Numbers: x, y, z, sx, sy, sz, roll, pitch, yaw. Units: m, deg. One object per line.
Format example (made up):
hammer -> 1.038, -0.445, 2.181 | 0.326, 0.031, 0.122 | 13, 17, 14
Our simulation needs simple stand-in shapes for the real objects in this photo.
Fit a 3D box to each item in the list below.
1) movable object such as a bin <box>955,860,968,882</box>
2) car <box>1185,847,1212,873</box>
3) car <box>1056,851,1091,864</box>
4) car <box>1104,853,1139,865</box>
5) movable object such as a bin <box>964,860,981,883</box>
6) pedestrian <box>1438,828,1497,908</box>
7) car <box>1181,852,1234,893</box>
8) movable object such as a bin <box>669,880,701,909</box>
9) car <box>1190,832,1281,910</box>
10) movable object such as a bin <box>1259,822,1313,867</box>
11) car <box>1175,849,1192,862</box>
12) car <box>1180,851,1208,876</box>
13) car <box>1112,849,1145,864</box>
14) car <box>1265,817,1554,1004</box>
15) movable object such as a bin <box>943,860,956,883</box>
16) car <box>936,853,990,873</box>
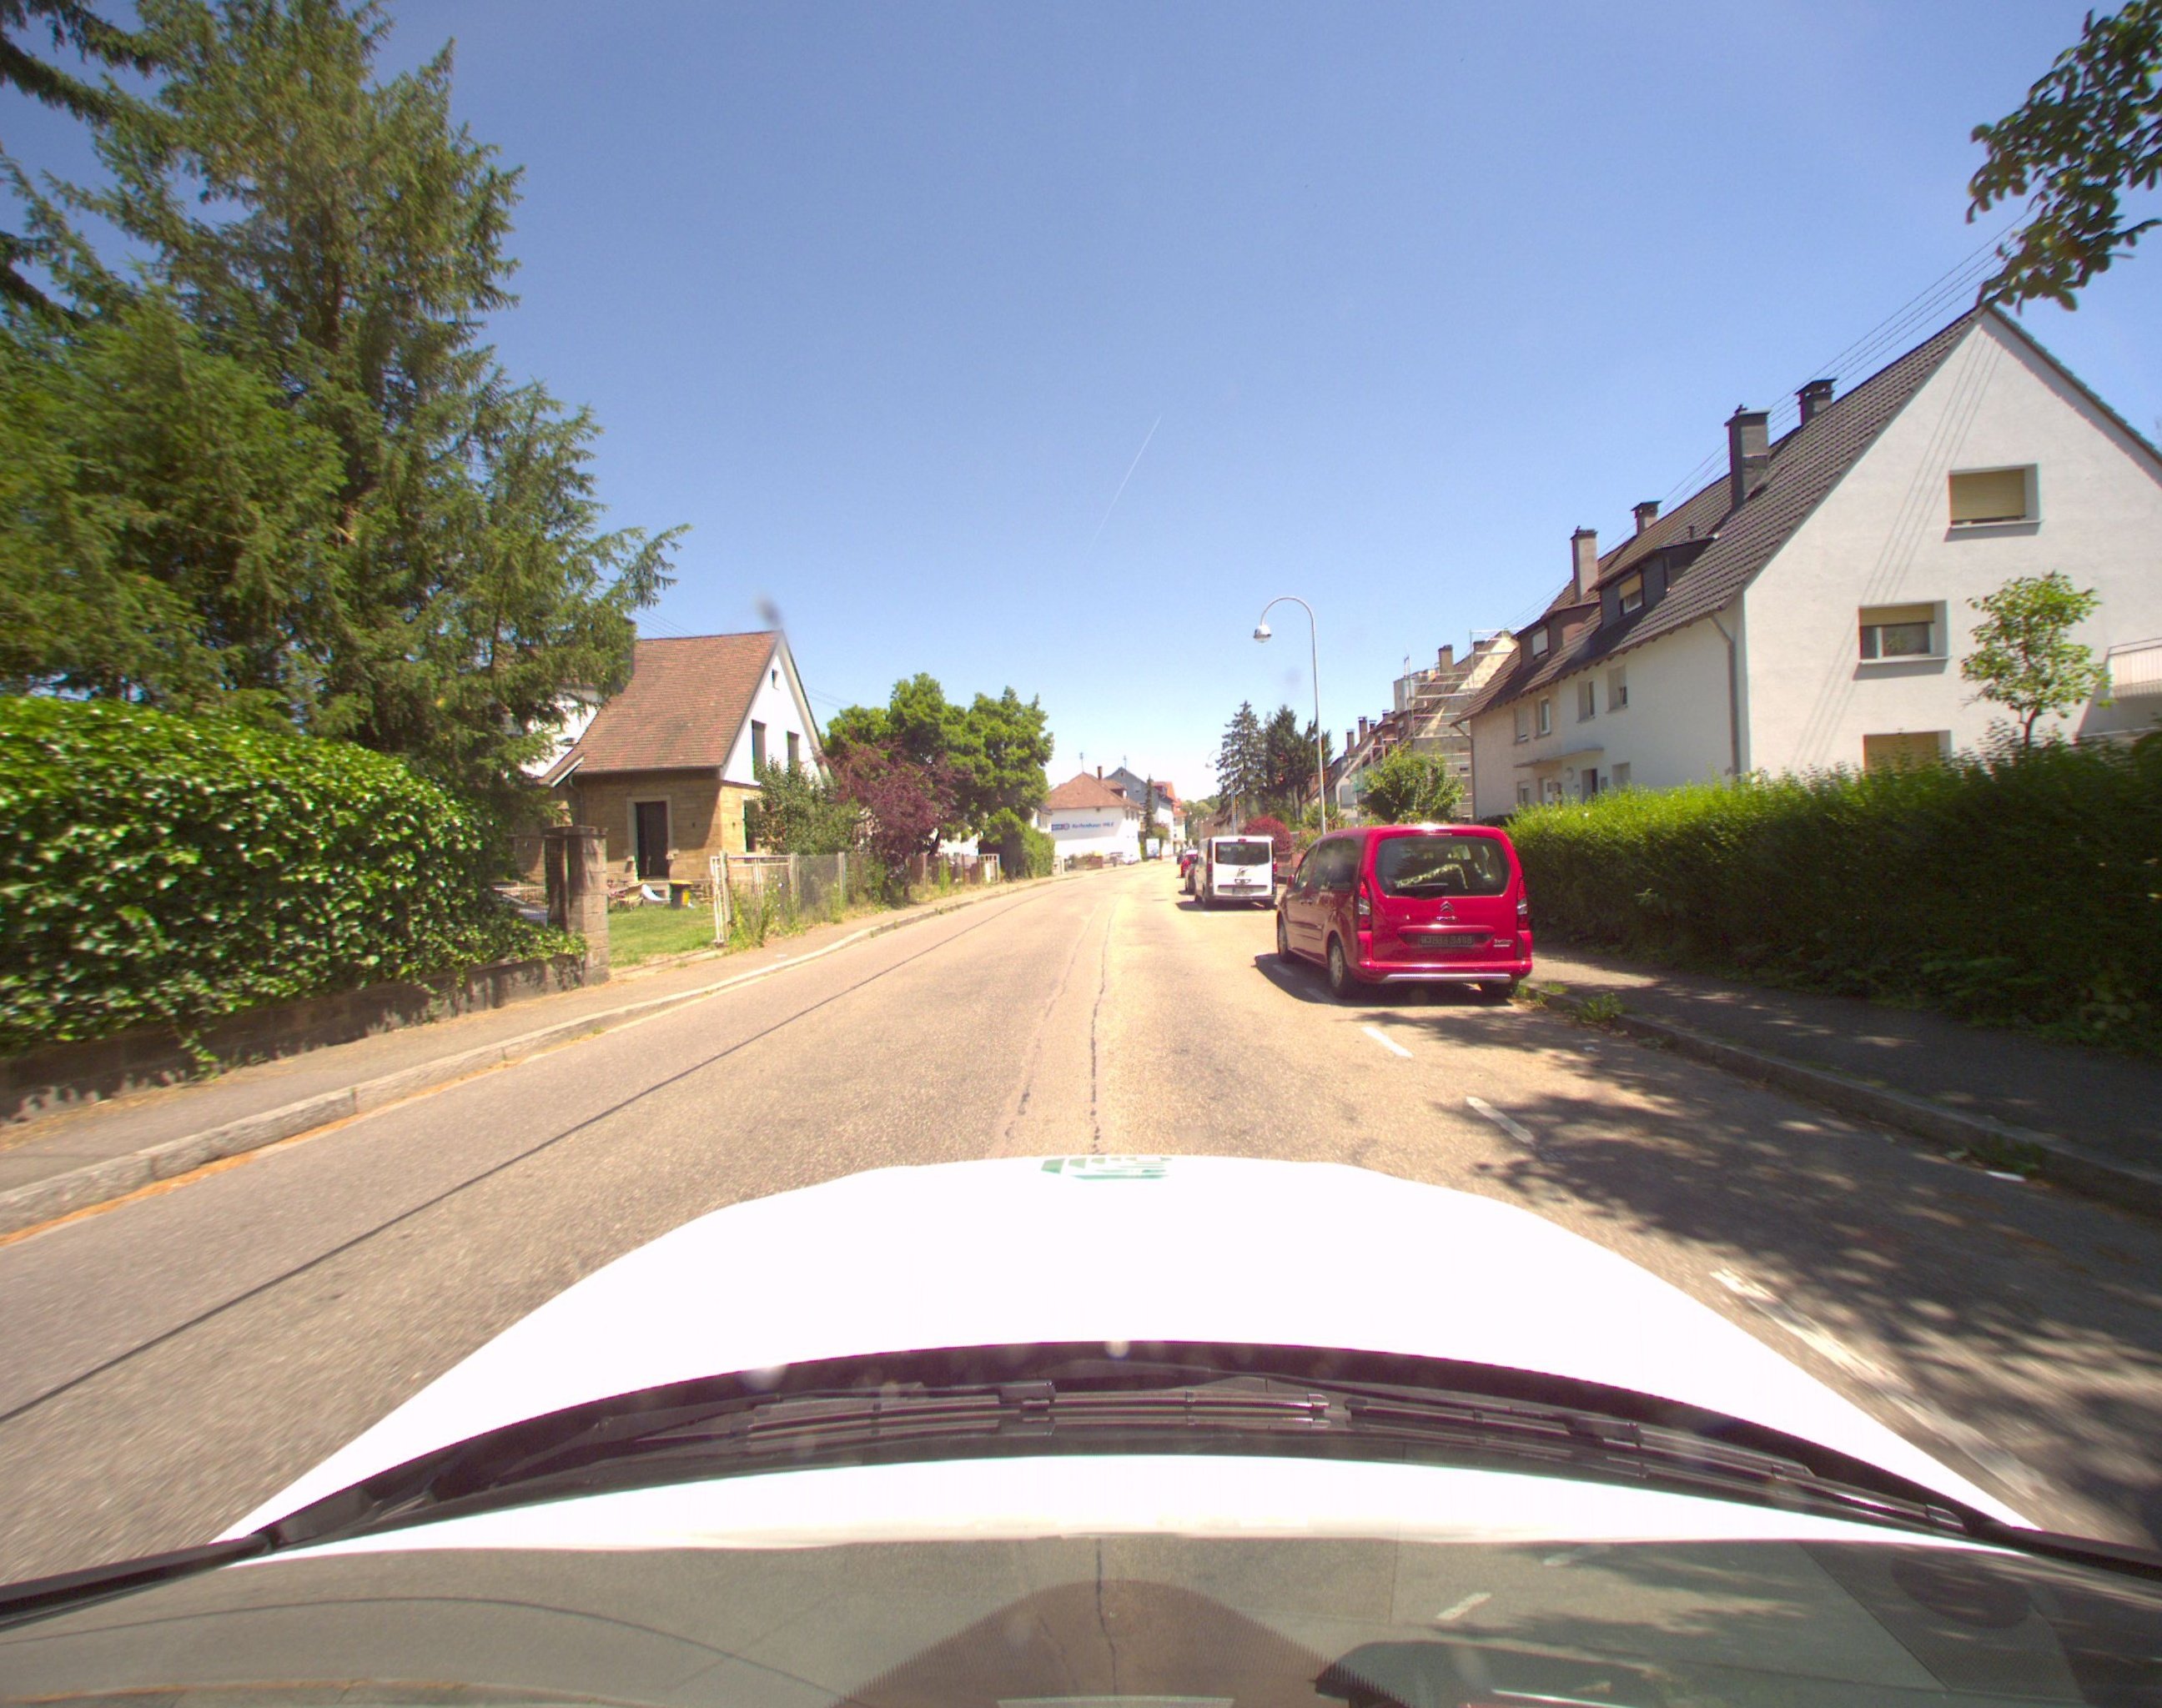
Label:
movable object such as a bin -> -5.532, 0.788, 37.667 | 0.465, 1.009, 0.506 | -1, 0, 4
car -> 8.083, 0.422, 55.817 | 1.653, 1.755, 4.011 | 0, -1, 10
car -> -0.903, 0.434, 95.589 | 1.810, 1.510, 3.951 | -2, 1, -43
car -> 4.969, 0.660, 100.524 | 1.923, 1.343, 4.091 | -2, 0, -45
movable object such as a bin -> -4.918, 0.777, 36.925 | 0.705, 0.996, 0.474 | -2, 0, 2
pedestrian -> 7.805, 0.280, 16.476 | 0.785, 1.517, 0.709 | -4, 0, 3
car -> 4.684, 0.640, 30.560 | 1.648, 1.398, 4.005 | -2, 0, 5
movable object such as a bin -> -11.858, 1.198, 24.393 | 0.563, 0.828, 0.725 | -1, 0, 7
car -> 4.251, 0.430, 23.179 | 1.895, 1.924, 4.722 | -2, 0, 3
movable object such as a bin -> 13.177, -0.613, 52.423 | 3.129, 2.747, 1.710 | -1, 0, 6
car -> 11.851, 0.157, 93.875 | 1.783, 1.510, 4.011 | -1, 0, 10
car -> 7.074, 0.567, 50.779 | 1.654, 1.454, 4.010 | -1, 0, 8
car -> 6.153, 0.355, 105.591 | 4.106, 1.774, 1.832 | -2, 0, 7
car -> 3.538, 0.529, 9.750 | 1.895, 1.728, 4.395 | 0, 0, 3
movable object such as a bin -> -6.095, 0.803, 37.684 | 0.465, 1.009, 0.506 | -1, 0, 4
car -> -9.108, 0.698, 63.076 | 3.975, 1.510, 1.799 | -1, 0, -1
